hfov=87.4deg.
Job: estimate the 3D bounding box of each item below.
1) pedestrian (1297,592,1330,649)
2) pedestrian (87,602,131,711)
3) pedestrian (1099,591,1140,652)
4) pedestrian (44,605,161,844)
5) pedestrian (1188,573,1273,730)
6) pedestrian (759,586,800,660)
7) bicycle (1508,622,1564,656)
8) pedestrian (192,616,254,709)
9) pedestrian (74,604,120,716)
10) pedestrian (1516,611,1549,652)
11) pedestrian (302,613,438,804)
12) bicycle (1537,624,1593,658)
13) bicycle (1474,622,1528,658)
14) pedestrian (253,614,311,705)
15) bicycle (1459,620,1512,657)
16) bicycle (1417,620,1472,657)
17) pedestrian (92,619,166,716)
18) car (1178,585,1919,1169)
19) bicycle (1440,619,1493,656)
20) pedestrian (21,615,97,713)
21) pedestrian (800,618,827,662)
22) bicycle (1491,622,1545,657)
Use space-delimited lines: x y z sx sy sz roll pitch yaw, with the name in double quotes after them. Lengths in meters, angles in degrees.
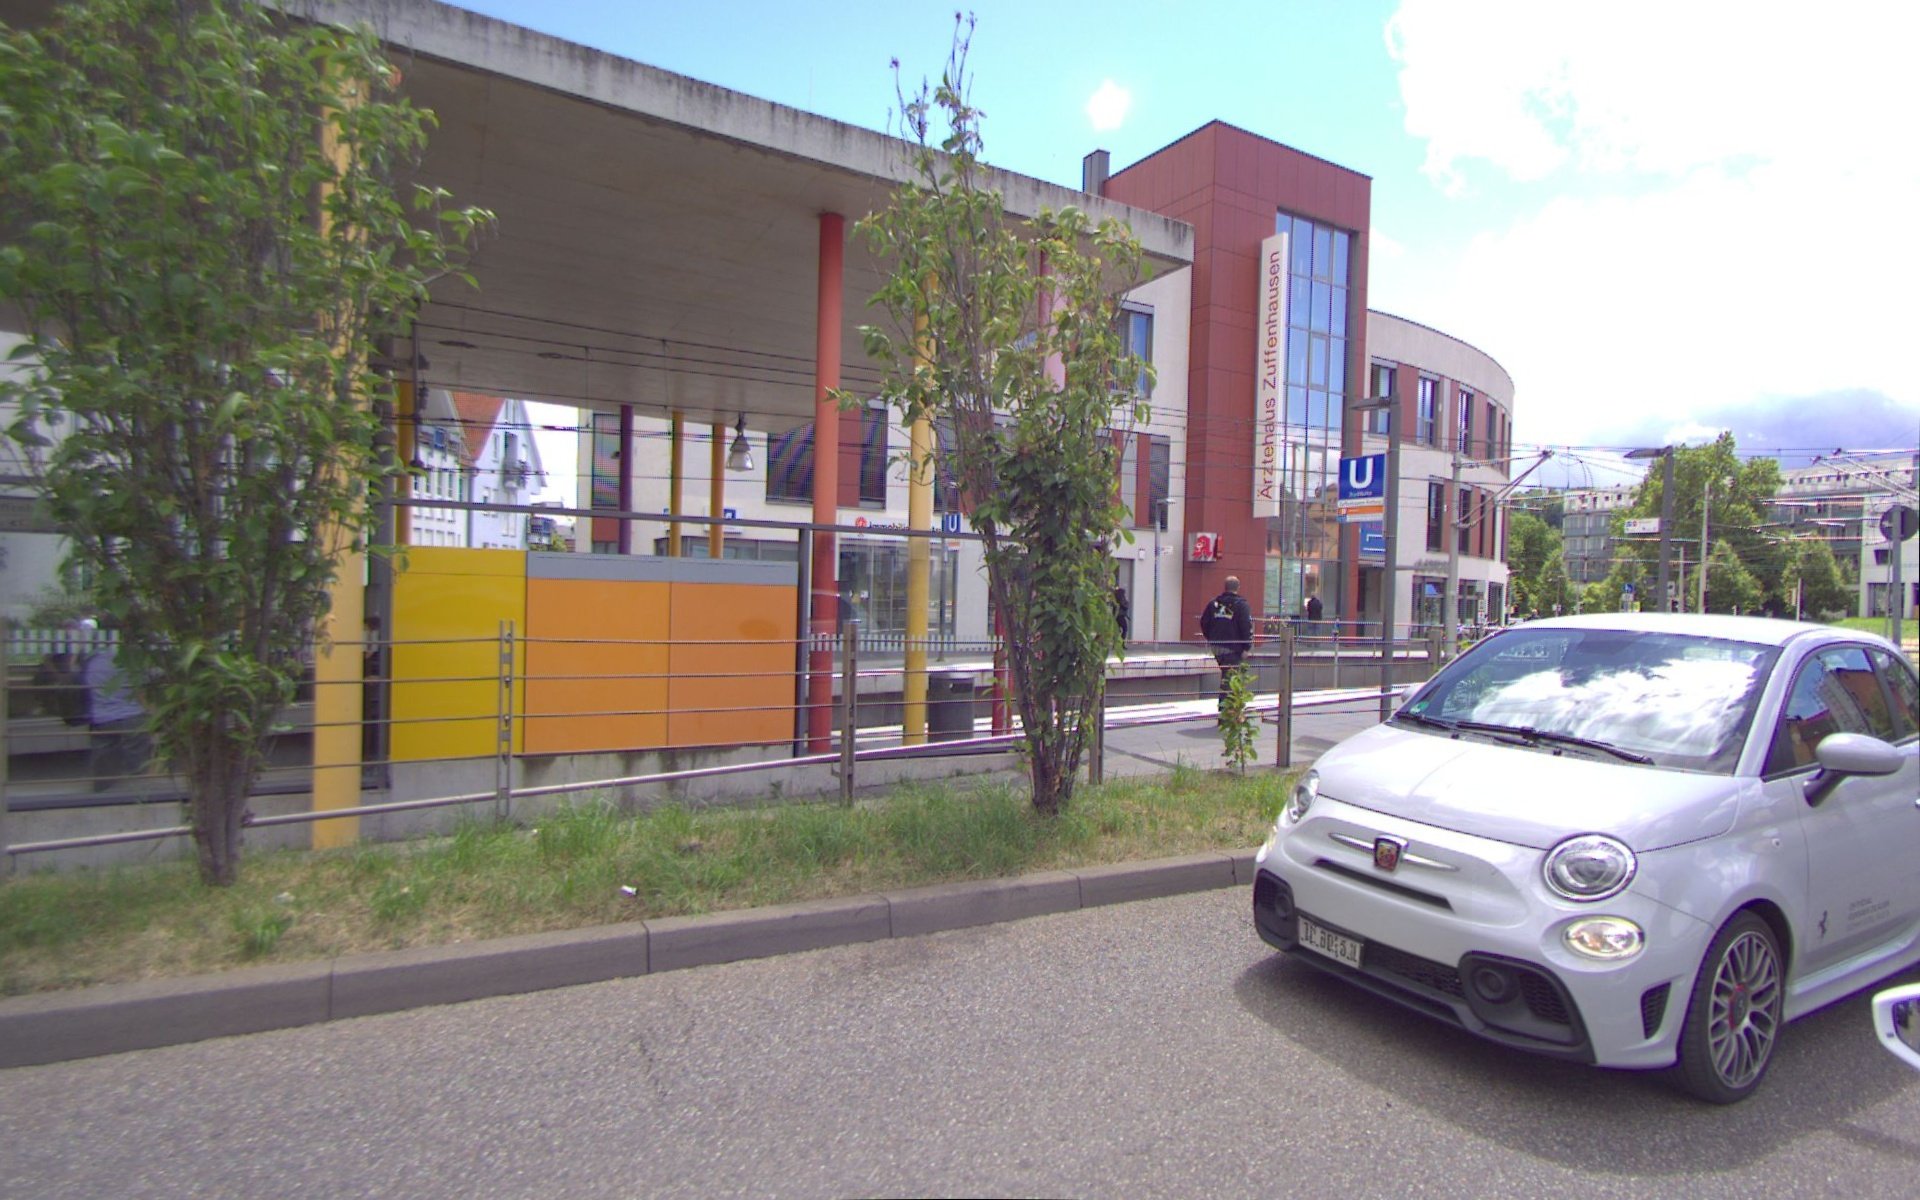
12.135 0.698 34.480 0.730 1.876 0.653 3 1 -29 "pedestrian"
-14.721 0.961 17.381 0.486 1.845 0.480 -1 3 -32 "pedestrian"
4.573 0.609 28.780 0.833 1.671 0.653 3 1 -30 "pedestrian"
-6.298 0.881 7.406 0.541 1.655 0.529 0 3 -30 "pedestrian"
3.365 0.604 12.499 0.725 1.870 0.780 3 3 39 "pedestrian"
-4.321 0.553 23.995 0.715 1.707 0.681 3 1 -27 "pedestrian"
19.084 1.283 33.297 0.509 1.115 1.558 3 -2 -31 "bicycle"
-11.661 0.971 15.911 0.693 1.398 0.648 0 3 -29 "pedestrian"
-14.271 0.980 16.616 0.486 1.799 0.480 -1 3 -32 "pedestrian"
22.769 1.251 39.956 0.843 1.592 0.855 4 1 44 "pedestrian"
-5.083 0.906 8.701 0.742 1.548 0.686 -1 1 -4 "pedestrian"
20.456 1.385 33.981 0.509 1.115 1.558 3 -2 -31 "bicycle"
17.279 1.264 32.101 0.404 1.115 1.500 3 -2 -31 "bicycle"
-11.030 0.945 16.360 0.693 1.398 0.819 0 2 -29 "pedestrian"
16.545 1.198 31.663 0.404 1.115 1.500 3 -2 -31 "bicycle"
14.799 1.164 30.706 0.404 1.115 1.558 3 -2 -31 "bicycle"
-12.821 1.020 15.523 0.693 1.398 0.922 0 2 -28 "pedestrian"
3.062 0.749 4.431 3.953 1.528 1.762 1 1 -31 "car"
15.690 1.158 31.143 0.404 1.115 1.500 3 -2 -31 "bicycle"
-13.556 0.944 15.137 0.693 1.398 0.648 0 3 -29 "pedestrian"
-3.461 0.944 23.731 0.486 1.003 0.362 3 1 -27 "pedestrian"
18.201 1.284 32.765 0.487 1.115 1.500 3 -2 -31 "bicycle"
